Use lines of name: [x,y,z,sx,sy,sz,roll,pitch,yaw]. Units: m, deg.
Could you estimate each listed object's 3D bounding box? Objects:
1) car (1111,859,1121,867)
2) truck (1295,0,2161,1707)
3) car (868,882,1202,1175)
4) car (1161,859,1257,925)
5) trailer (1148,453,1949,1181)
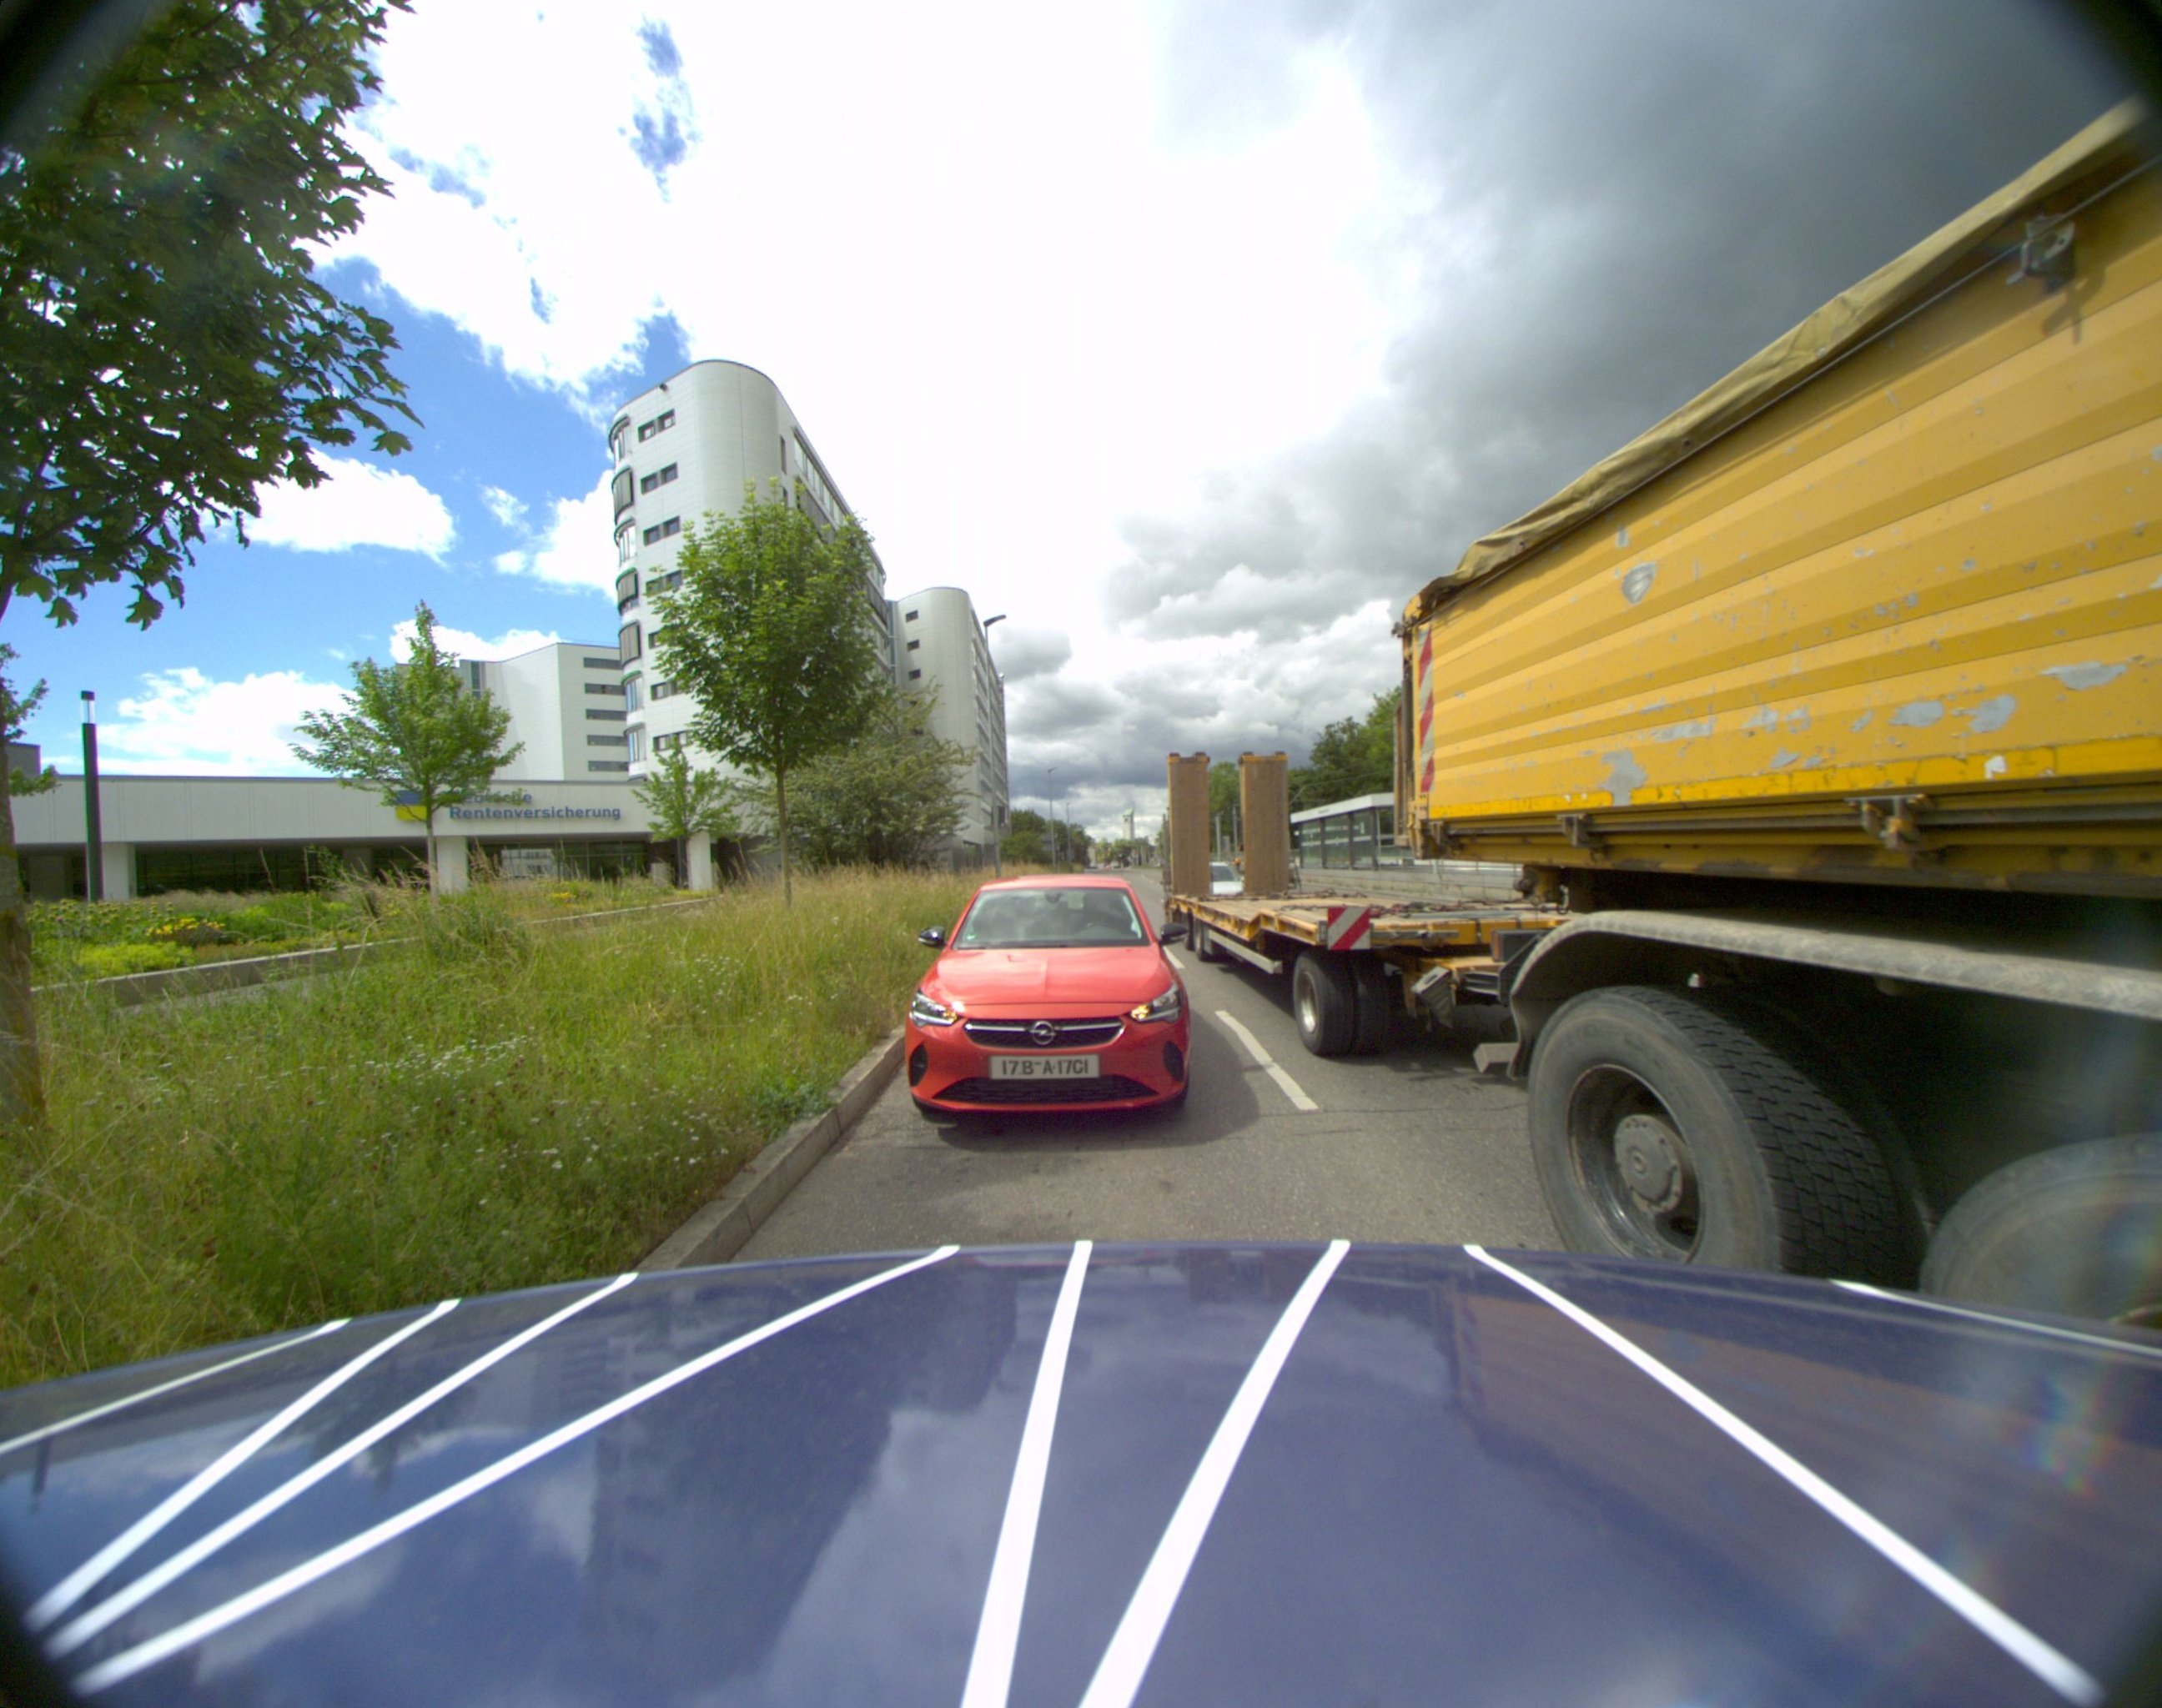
car: [7.716,1.988,168.745,1.998,1.805,4.000,-2,0,1]
truck: [2.769,-0.053,0.130,3.057,3.374,8.006,-2,0,0]
car: [-0.212,0.993,5.861,1.749,1.408,3.676,-1,0,1]
car: [3.074,0.881,19.030,1.784,1.408,3.785,-2,0,1]
trailer: [2.928,-0.169,9.432,3.057,3.676,10.965,-2,0,0]
